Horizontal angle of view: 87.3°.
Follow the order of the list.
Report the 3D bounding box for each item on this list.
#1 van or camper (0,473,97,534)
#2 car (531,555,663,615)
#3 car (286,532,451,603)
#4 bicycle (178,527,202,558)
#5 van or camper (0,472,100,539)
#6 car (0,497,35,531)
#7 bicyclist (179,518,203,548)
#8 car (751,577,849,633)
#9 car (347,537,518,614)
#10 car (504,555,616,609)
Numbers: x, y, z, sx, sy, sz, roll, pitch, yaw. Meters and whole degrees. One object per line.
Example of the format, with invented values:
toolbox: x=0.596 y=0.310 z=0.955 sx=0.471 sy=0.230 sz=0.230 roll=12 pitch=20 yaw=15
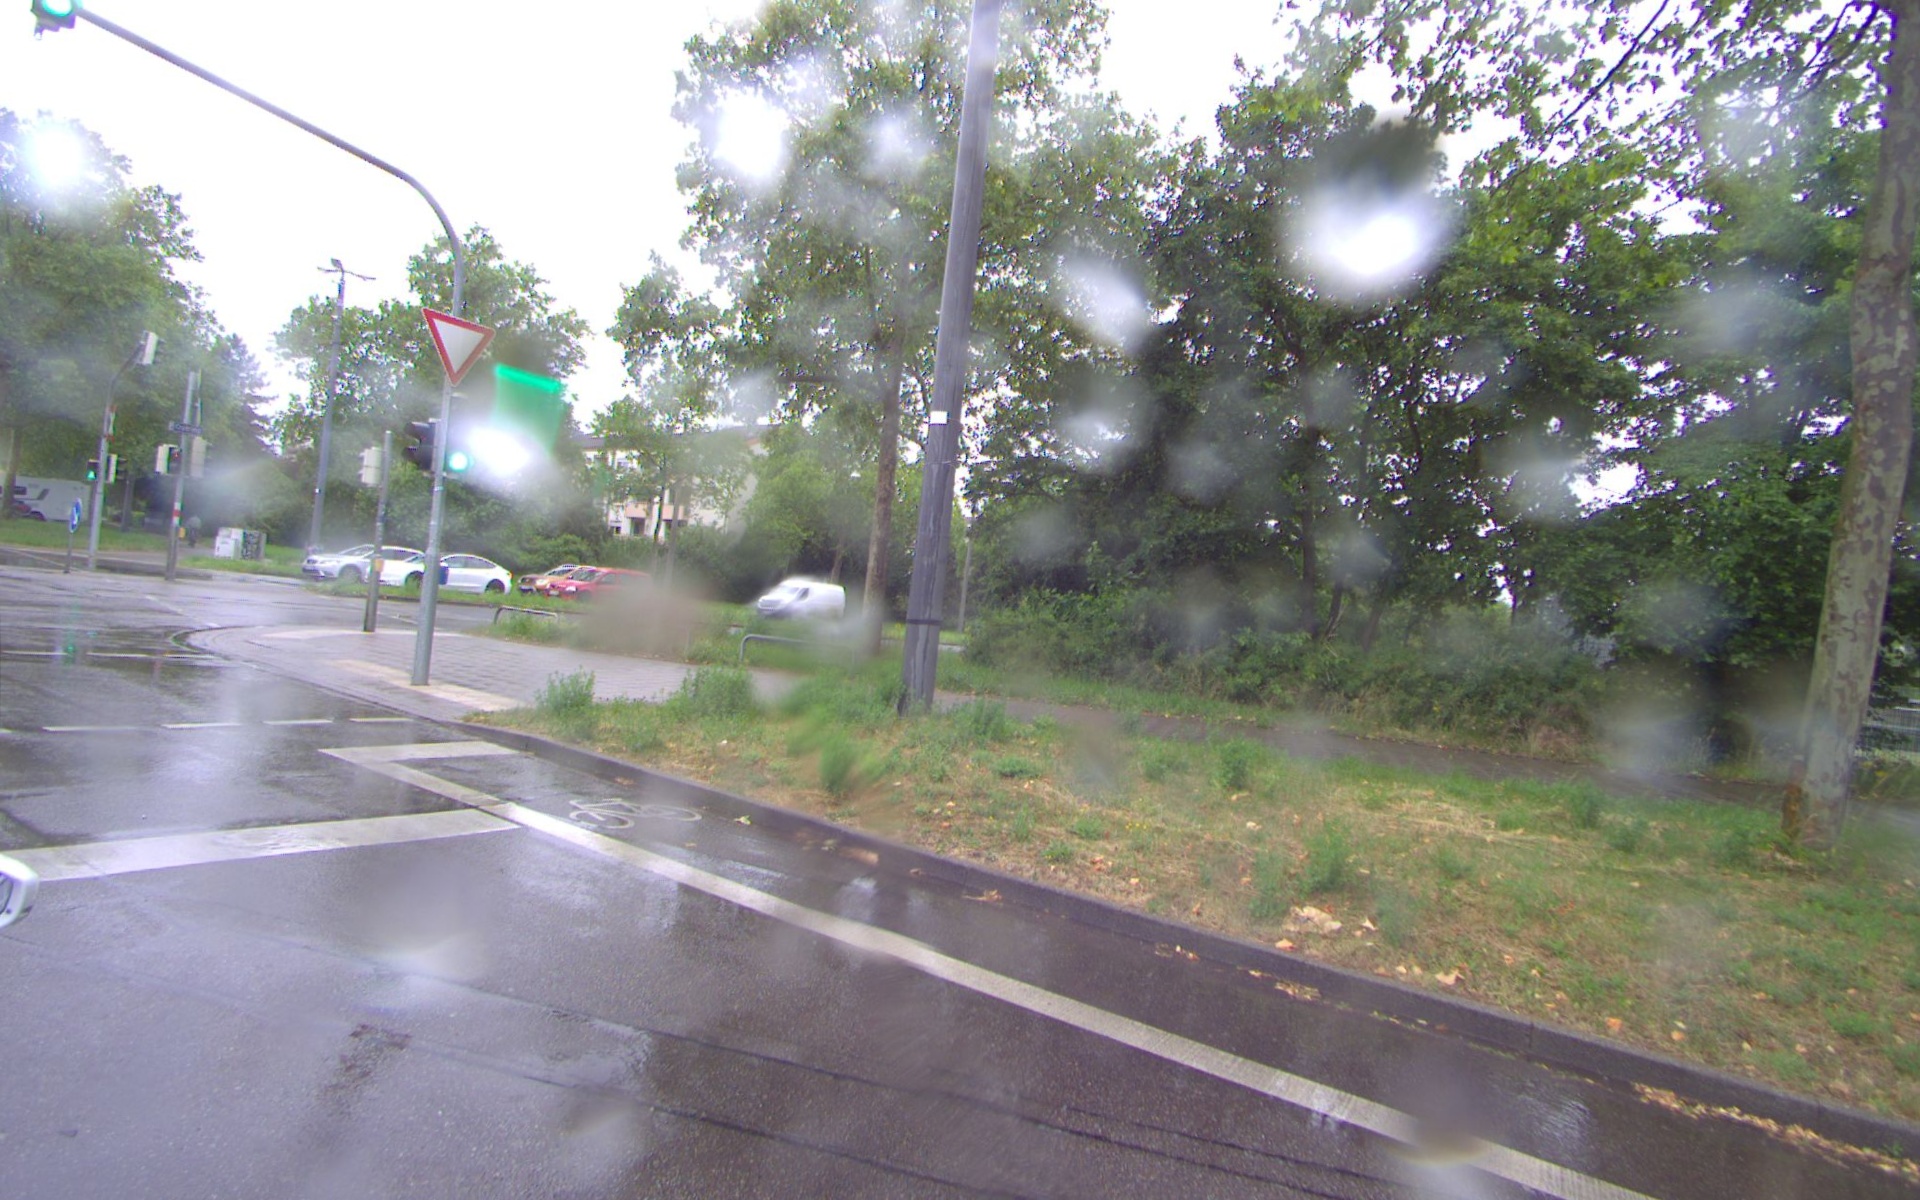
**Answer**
van or camper: x=-63.208 y=-6.677 z=67.582 sx=7.388 sy=3.215 sz=3.231 roll=9 pitch=-2 yaw=-36
car: x=-13.839 y=-0.529 z=38.632 sx=1.760 sy=1.625 sz=4.615 roll=6 pitch=-2 yaw=29
car: x=-20.104 y=-1.057 z=34.397 sx=1.900 sy=1.710 sz=4.407 roll=7 pitch=-2 yaw=26
bicycle: x=-40.513 y=-3.036 z=52.938 sx=0.857 sy=1.441 sz=2.676 roll=8 pitch=-2 yaw=-37
van or camper: x=-56.914 y=-5.907 z=60.729 sx=7.296 sy=3.215 sz=3.226 roll=9 pitch=-2 yaw=-40
car: x=-55.803 y=-5.144 z=57.156 sx=4.424 sy=1.736 sz=1.980 roll=9 pitch=-2 yaw=-37
bicyclist: x=-40.743 y=-3.541 z=53.322 sx=0.857 sy=1.441 sz=0.947 roll=8 pitch=-1 yaw=-38
car: x=-8.702 y=0.330 z=55.278 sx=1.967 sy=2.419 sz=5.617 roll=6 pitch=-2 yaw=31
car: x=-17.159 y=-0.743 z=32.986 sx=1.900 sy=1.849 sz=4.608 roll=7 pitch=-2 yaw=26
car: x=-16.423 y=-0.694 z=41.517 sx=1.759 sy=1.625 sz=4.069 roll=7 pitch=-2 yaw=26
